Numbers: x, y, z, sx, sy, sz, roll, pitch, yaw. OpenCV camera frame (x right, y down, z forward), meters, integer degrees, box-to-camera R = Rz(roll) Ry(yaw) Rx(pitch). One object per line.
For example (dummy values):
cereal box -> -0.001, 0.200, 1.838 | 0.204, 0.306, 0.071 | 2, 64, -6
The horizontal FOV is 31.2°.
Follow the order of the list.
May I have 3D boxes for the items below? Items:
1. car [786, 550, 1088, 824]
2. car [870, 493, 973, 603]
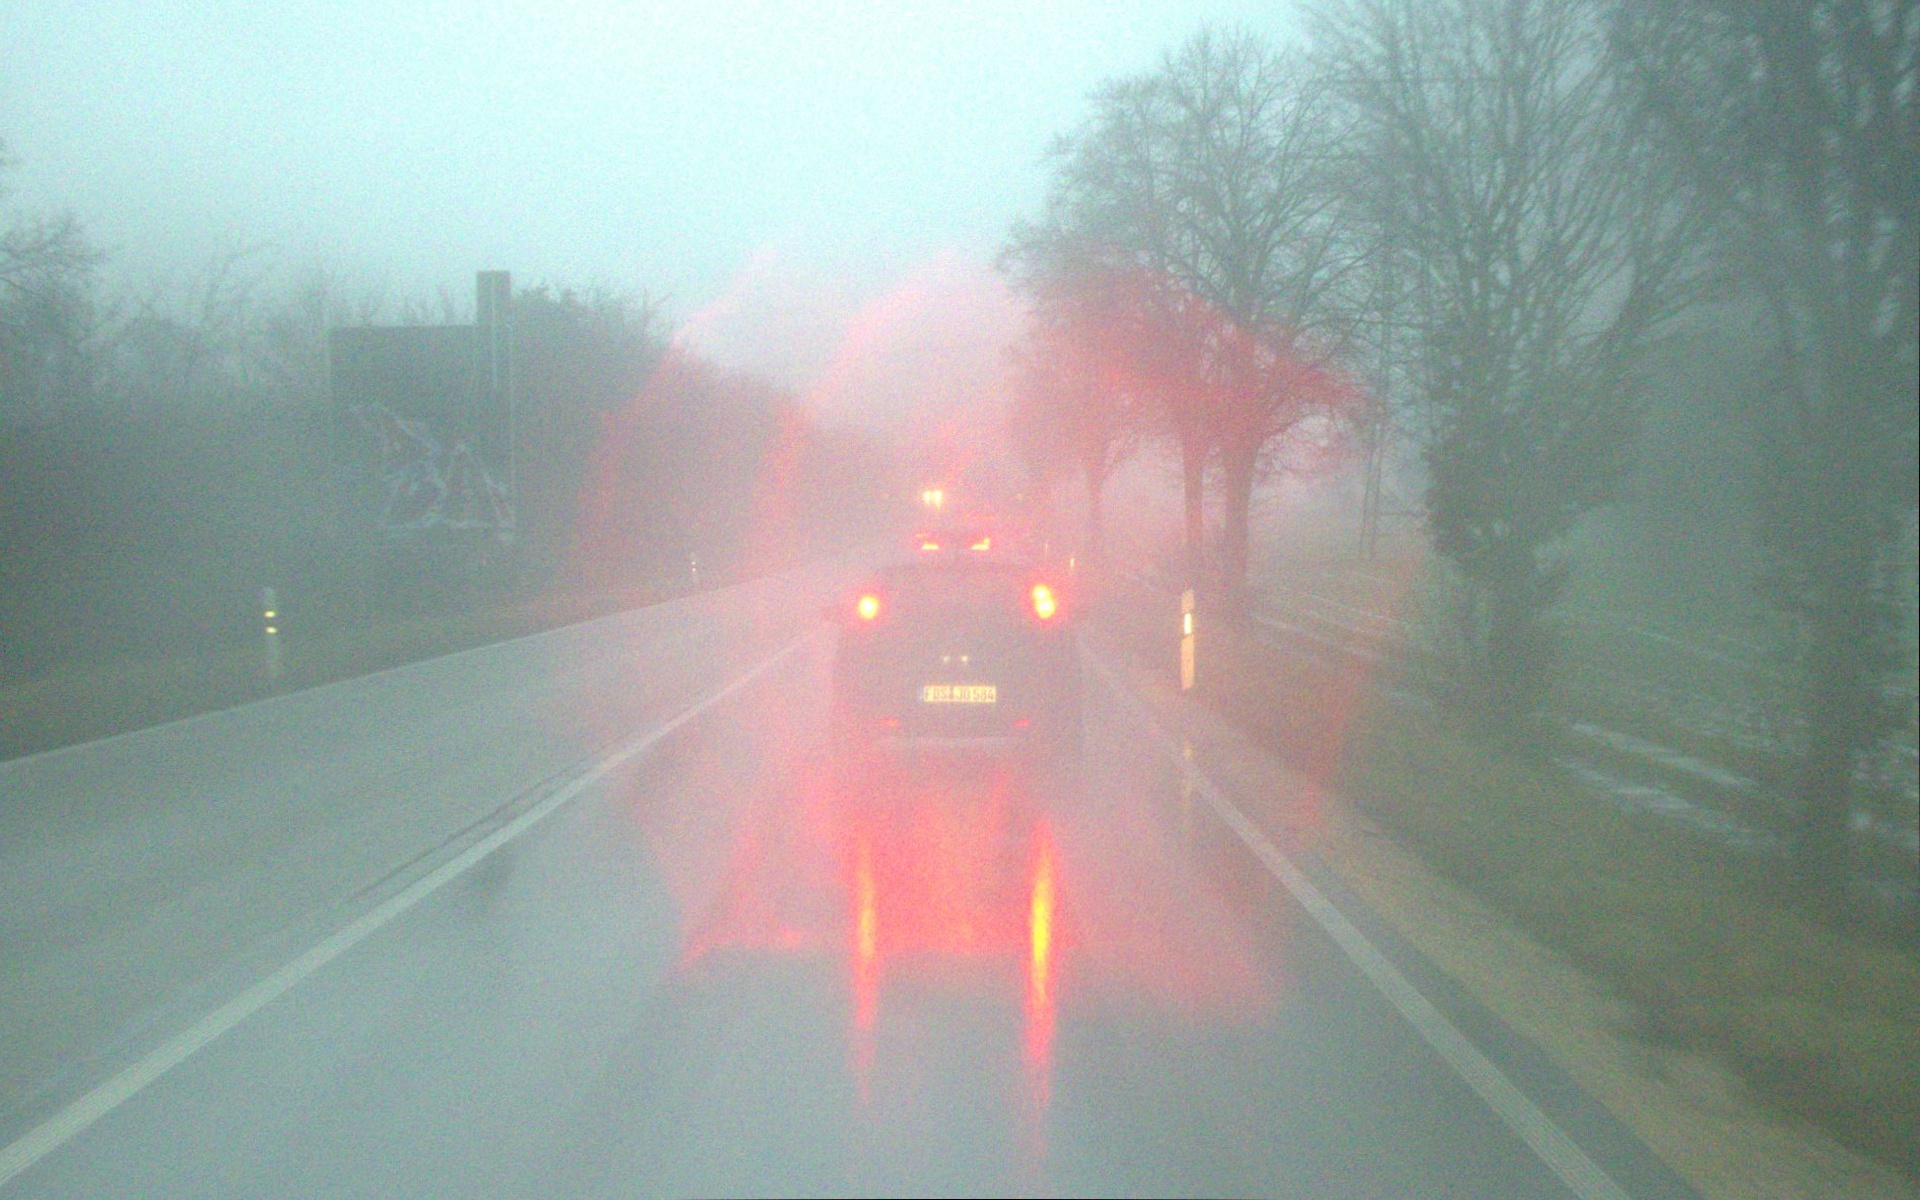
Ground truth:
car -> -0.129, 0.546, 24.779 | 1.993, 1.746, 4.000 | 0, 2, 1
car -> -0.853, -1.217, 78.608 | 1.994, 2.006, 4.001 | 5, 6, 2
